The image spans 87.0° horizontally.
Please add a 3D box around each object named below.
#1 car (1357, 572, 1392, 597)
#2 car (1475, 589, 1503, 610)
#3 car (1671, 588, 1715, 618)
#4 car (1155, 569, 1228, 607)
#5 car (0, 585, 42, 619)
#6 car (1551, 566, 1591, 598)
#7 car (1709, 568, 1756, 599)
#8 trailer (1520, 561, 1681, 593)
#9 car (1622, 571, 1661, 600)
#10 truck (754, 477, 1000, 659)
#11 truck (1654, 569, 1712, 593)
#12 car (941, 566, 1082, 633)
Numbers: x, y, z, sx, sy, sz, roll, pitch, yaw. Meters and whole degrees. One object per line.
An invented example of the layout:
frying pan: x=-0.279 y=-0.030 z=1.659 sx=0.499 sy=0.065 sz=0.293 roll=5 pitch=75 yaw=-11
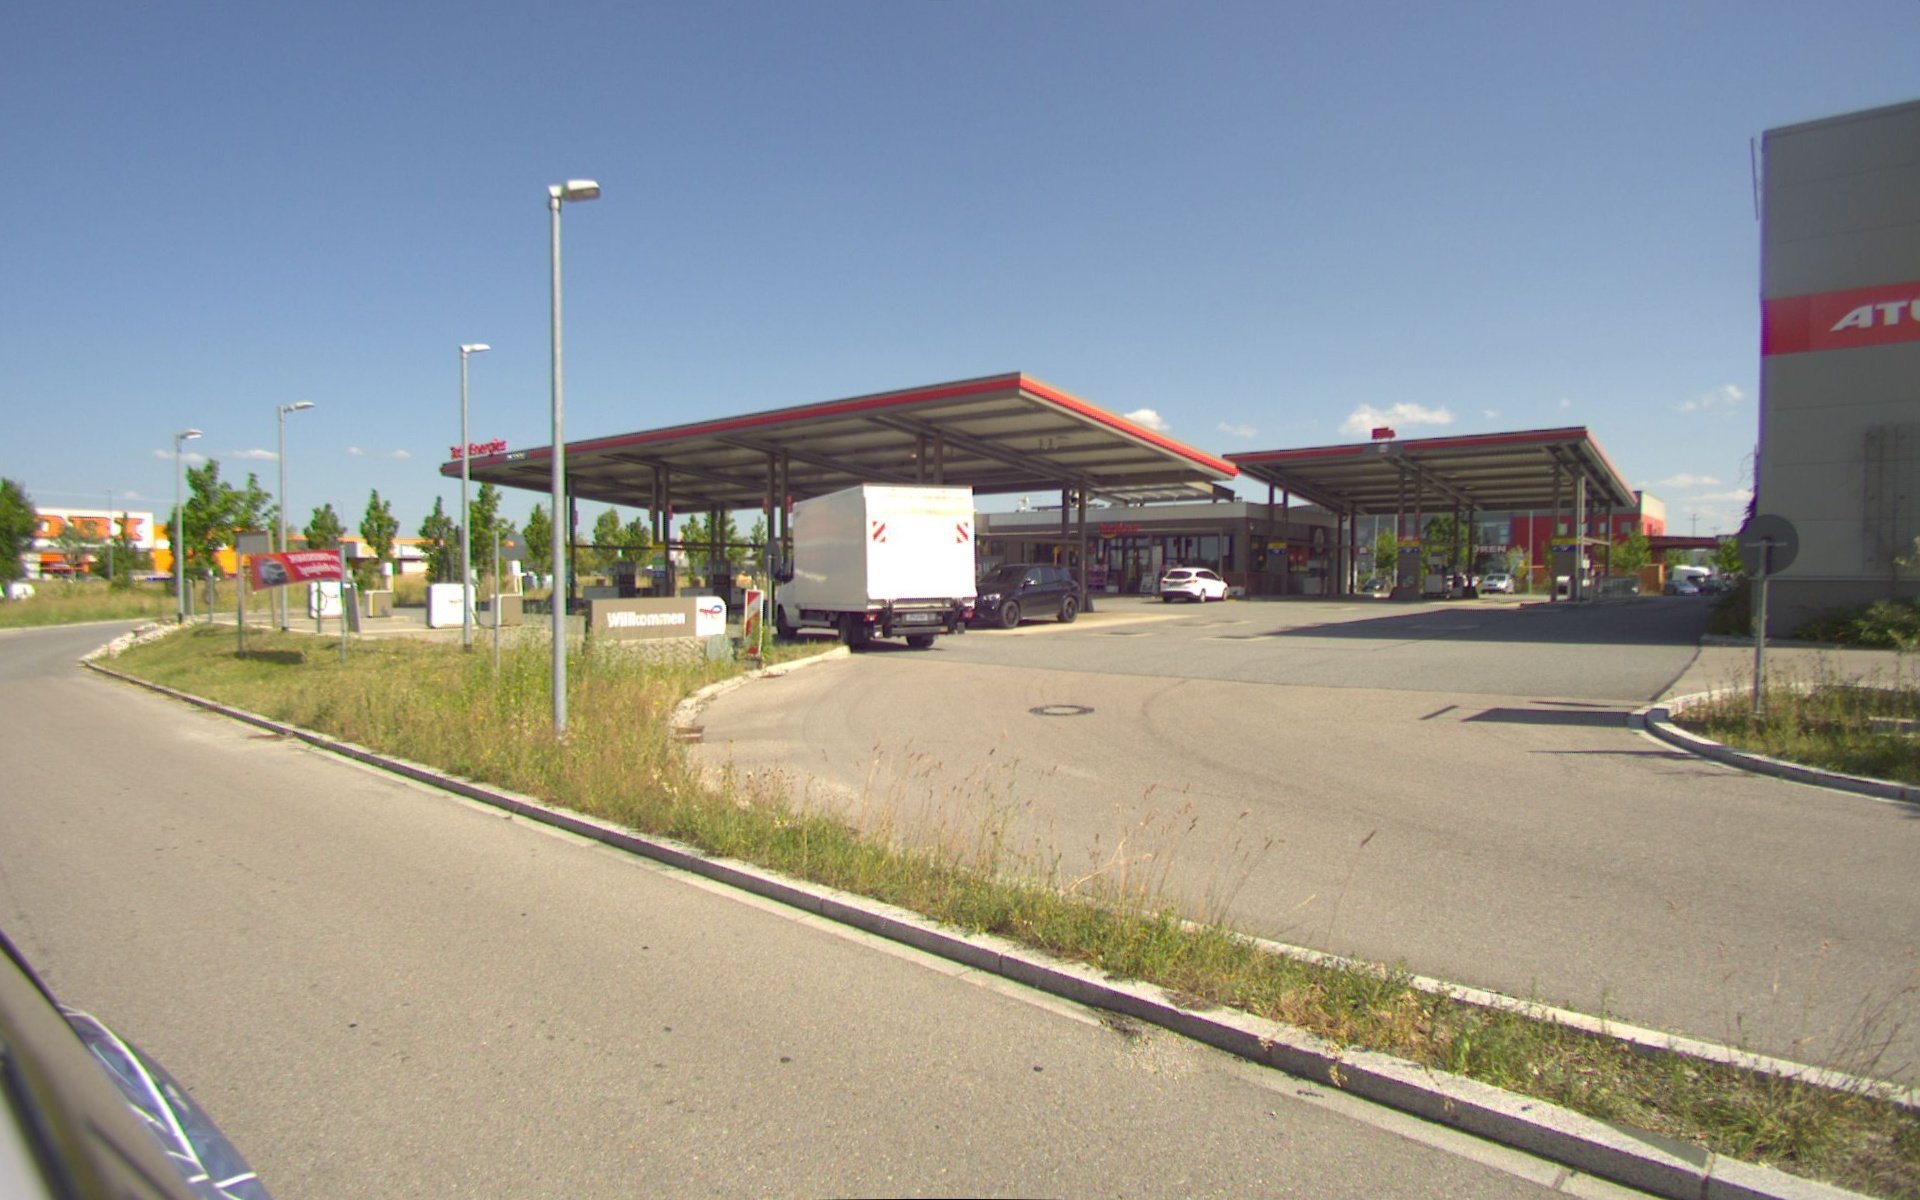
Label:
car: x=38.674 y=-1.449 z=94.259 sx=2.377 sy=2.204 sz=5.428 roll=-1 pitch=1 yaw=29
car: x=40.197 y=-0.075 z=76.919 sx=1.595 sy=1.521 sz=3.561 roll=-1 pitch=1 yaw=32
car: x=57.656 y=0.218 z=79.717 sx=2.380 sy=2.204 sz=5.422 roll=-1 pitch=1 yaw=32
car: x=10.033 y=-0.526 z=43.665 sx=1.791 sy=1.541 sz=3.954 roll=-1 pitch=1 yaw=34
car: x=-59.039 y=0.156 z=61.035 sx=1.997 sy=2.029 sz=5.190 roll=-1 pitch=1 yaw=37
car: x=44.586 y=-1.328 z=73.759 sx=2.380 sy=2.204 sz=5.422 roll=-1 pitch=1 yaw=32
car: x=59.372 y=-1.282 z=77.881 sx=2.380 sy=2.204 sz=5.422 roll=-1 pitch=1 yaw=32
trailer: x=62.564 y=-2.188 z=99.229 sx=13.171 sy=2.780 sz=2.356 roll=-1 pitch=1 yaw=40
car: x=54.855 y=-1.197 z=81.561 sx=2.380 sy=2.204 sz=5.422 roll=-1 pitch=1 yaw=32
truck: x=-2.107 y=-0.616 z=22.256 sx=2.597 sy=3.343 sz=6.927 roll=-1 pitch=1 yaw=-30
truck: x=67.720 y=-1.770 z=94.782 sx=4.247 sy=2.204 sz=2.356 roll=-1 pitch=1 yaw=40
car: x=1.568 y=-0.051 z=29.043 sx=1.793 sy=1.771 sz=4.464 roll=-1 pitch=1 yaw=38
